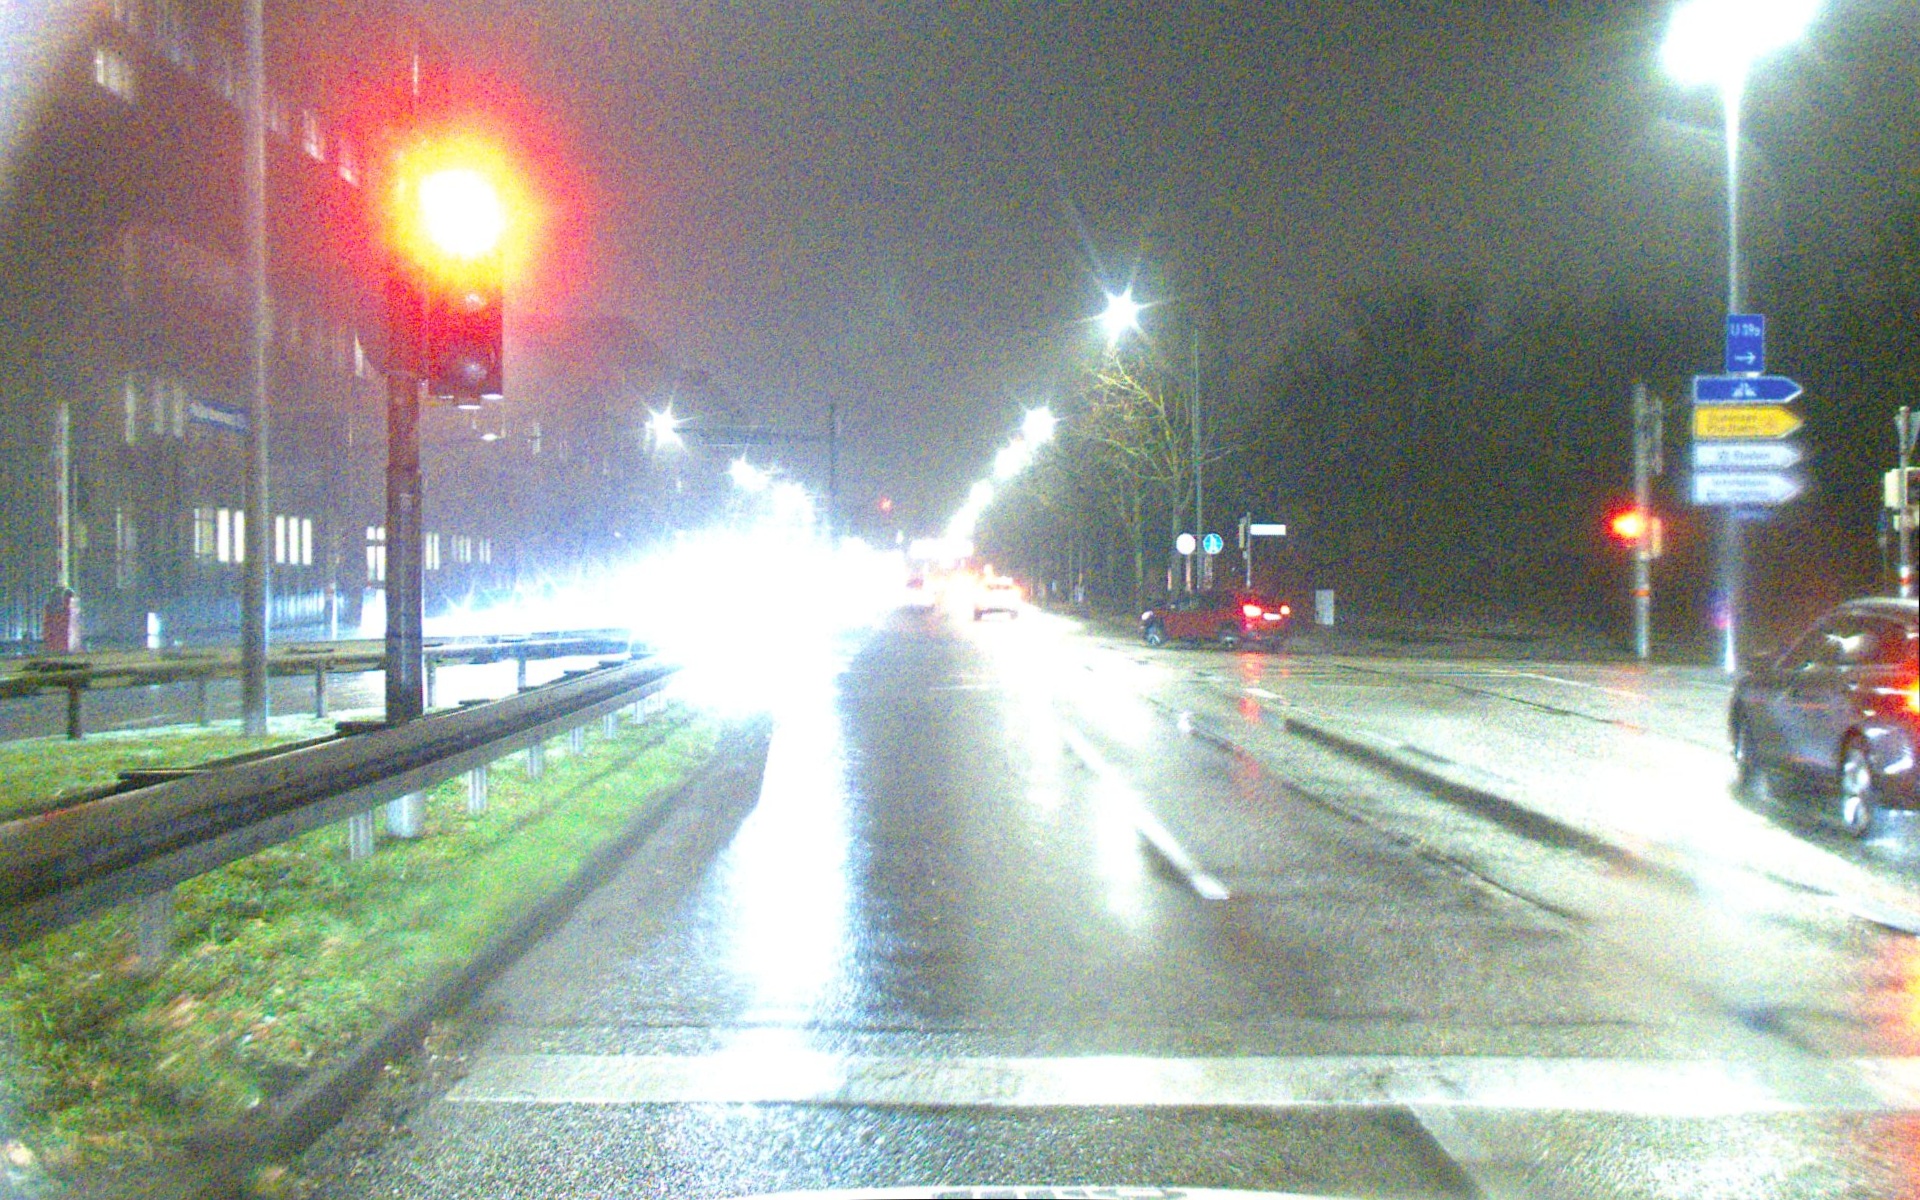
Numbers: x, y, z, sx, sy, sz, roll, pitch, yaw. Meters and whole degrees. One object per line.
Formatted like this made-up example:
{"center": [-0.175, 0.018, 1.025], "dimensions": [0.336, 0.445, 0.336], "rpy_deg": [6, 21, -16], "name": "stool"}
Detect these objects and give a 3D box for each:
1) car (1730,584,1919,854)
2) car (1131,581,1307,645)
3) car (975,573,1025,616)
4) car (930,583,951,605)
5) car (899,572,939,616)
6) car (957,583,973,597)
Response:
{"center": [6.754, 0.697, 11.265], "dimensions": [1.798, 1.504, 4.632], "rpy_deg": [1, 0, 13], "name": "car"}
{"center": [6.416, 0.301, 41.230], "dimensions": [1.783, 1.513, 4.085], "rpy_deg": [1, 0, -44], "name": "car"}
{"center": [1.630, -0.219, 68.680], "dimensions": [1.755, 1.708, 4.426], "rpy_deg": [1, 0, -3], "name": "car"}
{"center": [-1.732, -0.522, 146.473], "dimensions": [1.754, 1.907, 4.625], "rpy_deg": [1, 0, -2], "name": "car"}
{"center": [-1.874, -0.242, 75.651], "dimensions": [1.754, 1.907, 4.625], "rpy_deg": [1, 0, -2], "name": "car"}
{"center": [0.646, -1.350, 220.816], "dimensions": [1.953, 1.790, 3.999], "rpy_deg": [1, 0, -1], "name": "car"}
